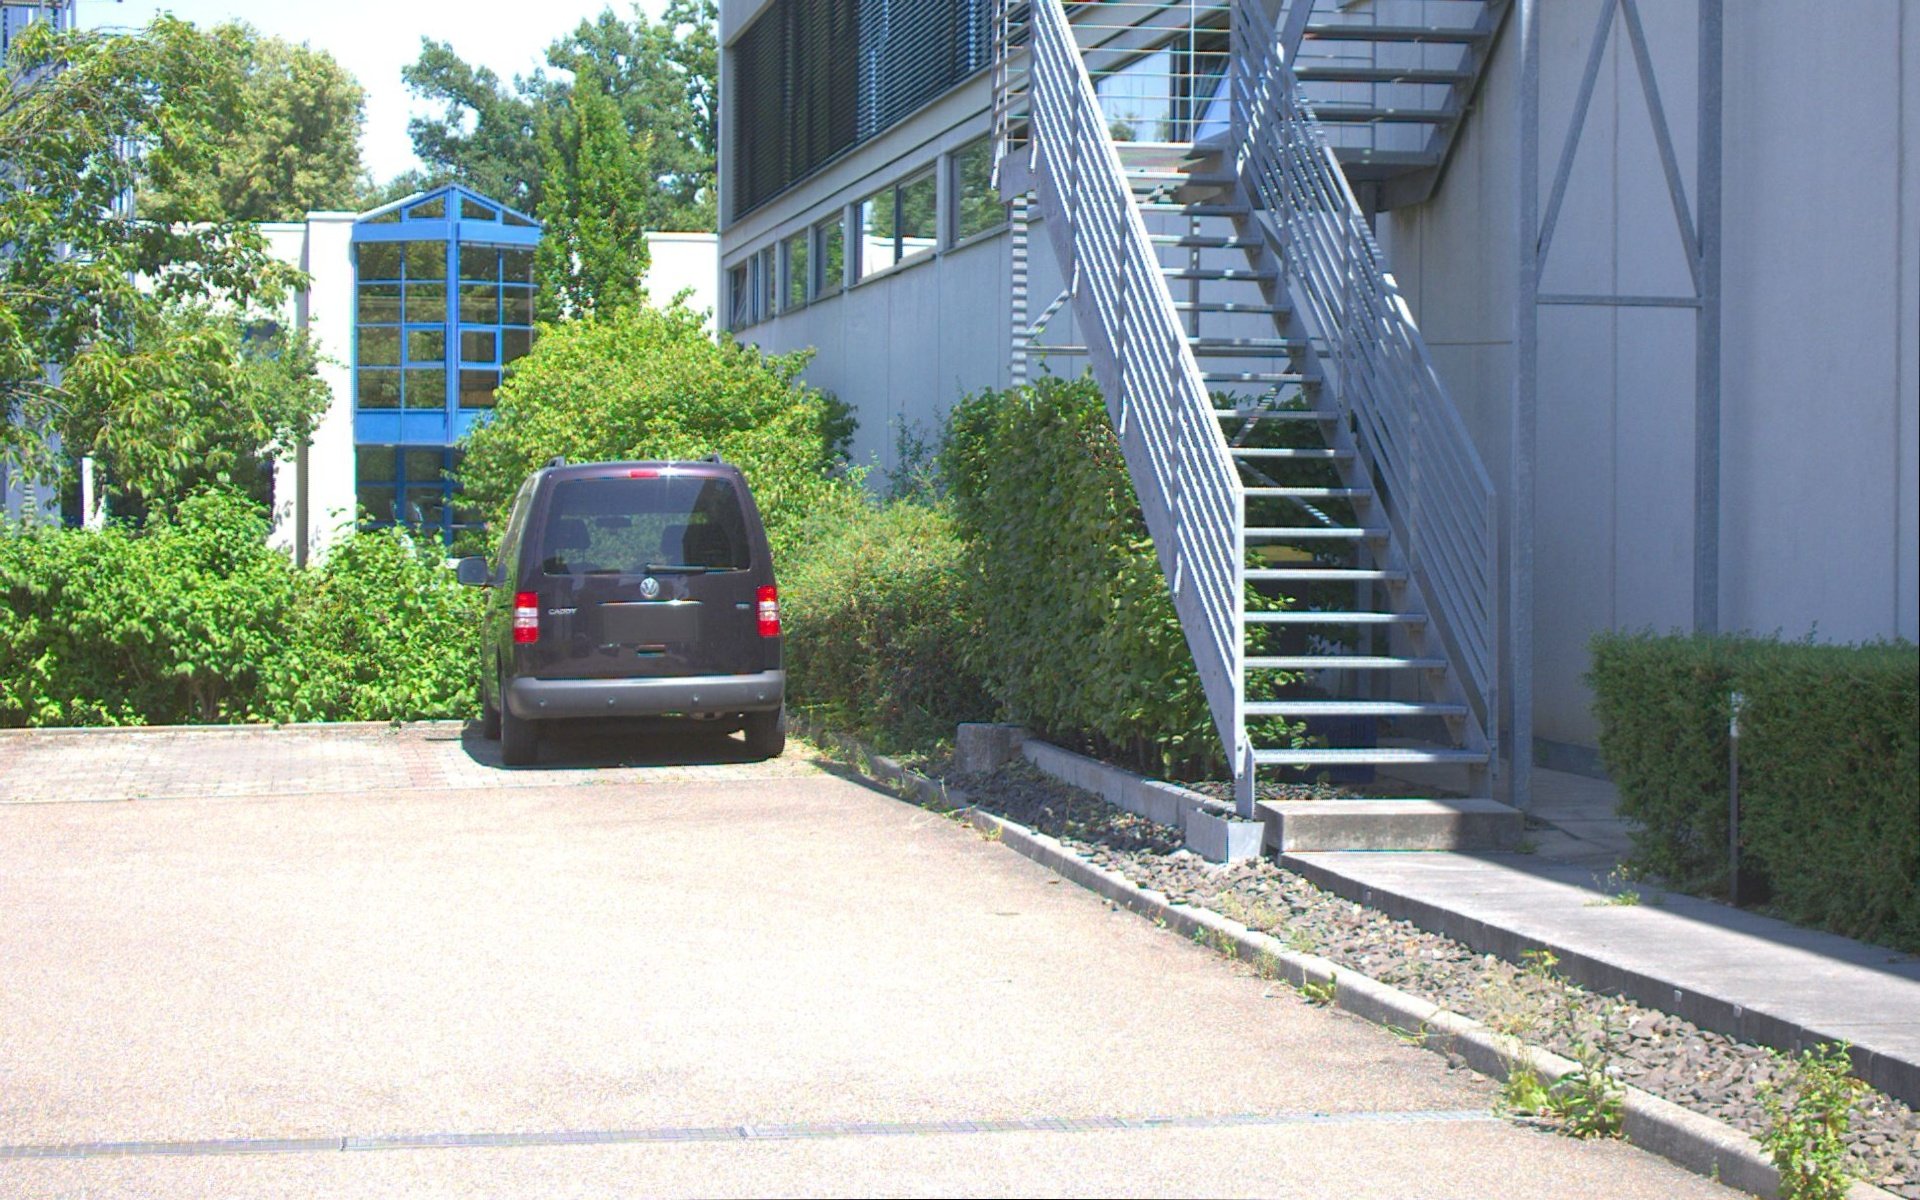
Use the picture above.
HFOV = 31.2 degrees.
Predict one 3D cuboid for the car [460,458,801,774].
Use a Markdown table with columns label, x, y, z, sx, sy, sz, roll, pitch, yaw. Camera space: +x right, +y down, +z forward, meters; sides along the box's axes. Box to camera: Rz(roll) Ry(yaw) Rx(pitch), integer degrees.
| label | x | y | z | sx | sy | sz | roll | pitch | yaw |
| --- | --- | --- | --- | --- | --- | --- | --- | --- | --- |
| car | -2.217 | 0.034 | 22.214 | 1.742 | 1.830 | 4.001 | -1 | 2 | -12 |
